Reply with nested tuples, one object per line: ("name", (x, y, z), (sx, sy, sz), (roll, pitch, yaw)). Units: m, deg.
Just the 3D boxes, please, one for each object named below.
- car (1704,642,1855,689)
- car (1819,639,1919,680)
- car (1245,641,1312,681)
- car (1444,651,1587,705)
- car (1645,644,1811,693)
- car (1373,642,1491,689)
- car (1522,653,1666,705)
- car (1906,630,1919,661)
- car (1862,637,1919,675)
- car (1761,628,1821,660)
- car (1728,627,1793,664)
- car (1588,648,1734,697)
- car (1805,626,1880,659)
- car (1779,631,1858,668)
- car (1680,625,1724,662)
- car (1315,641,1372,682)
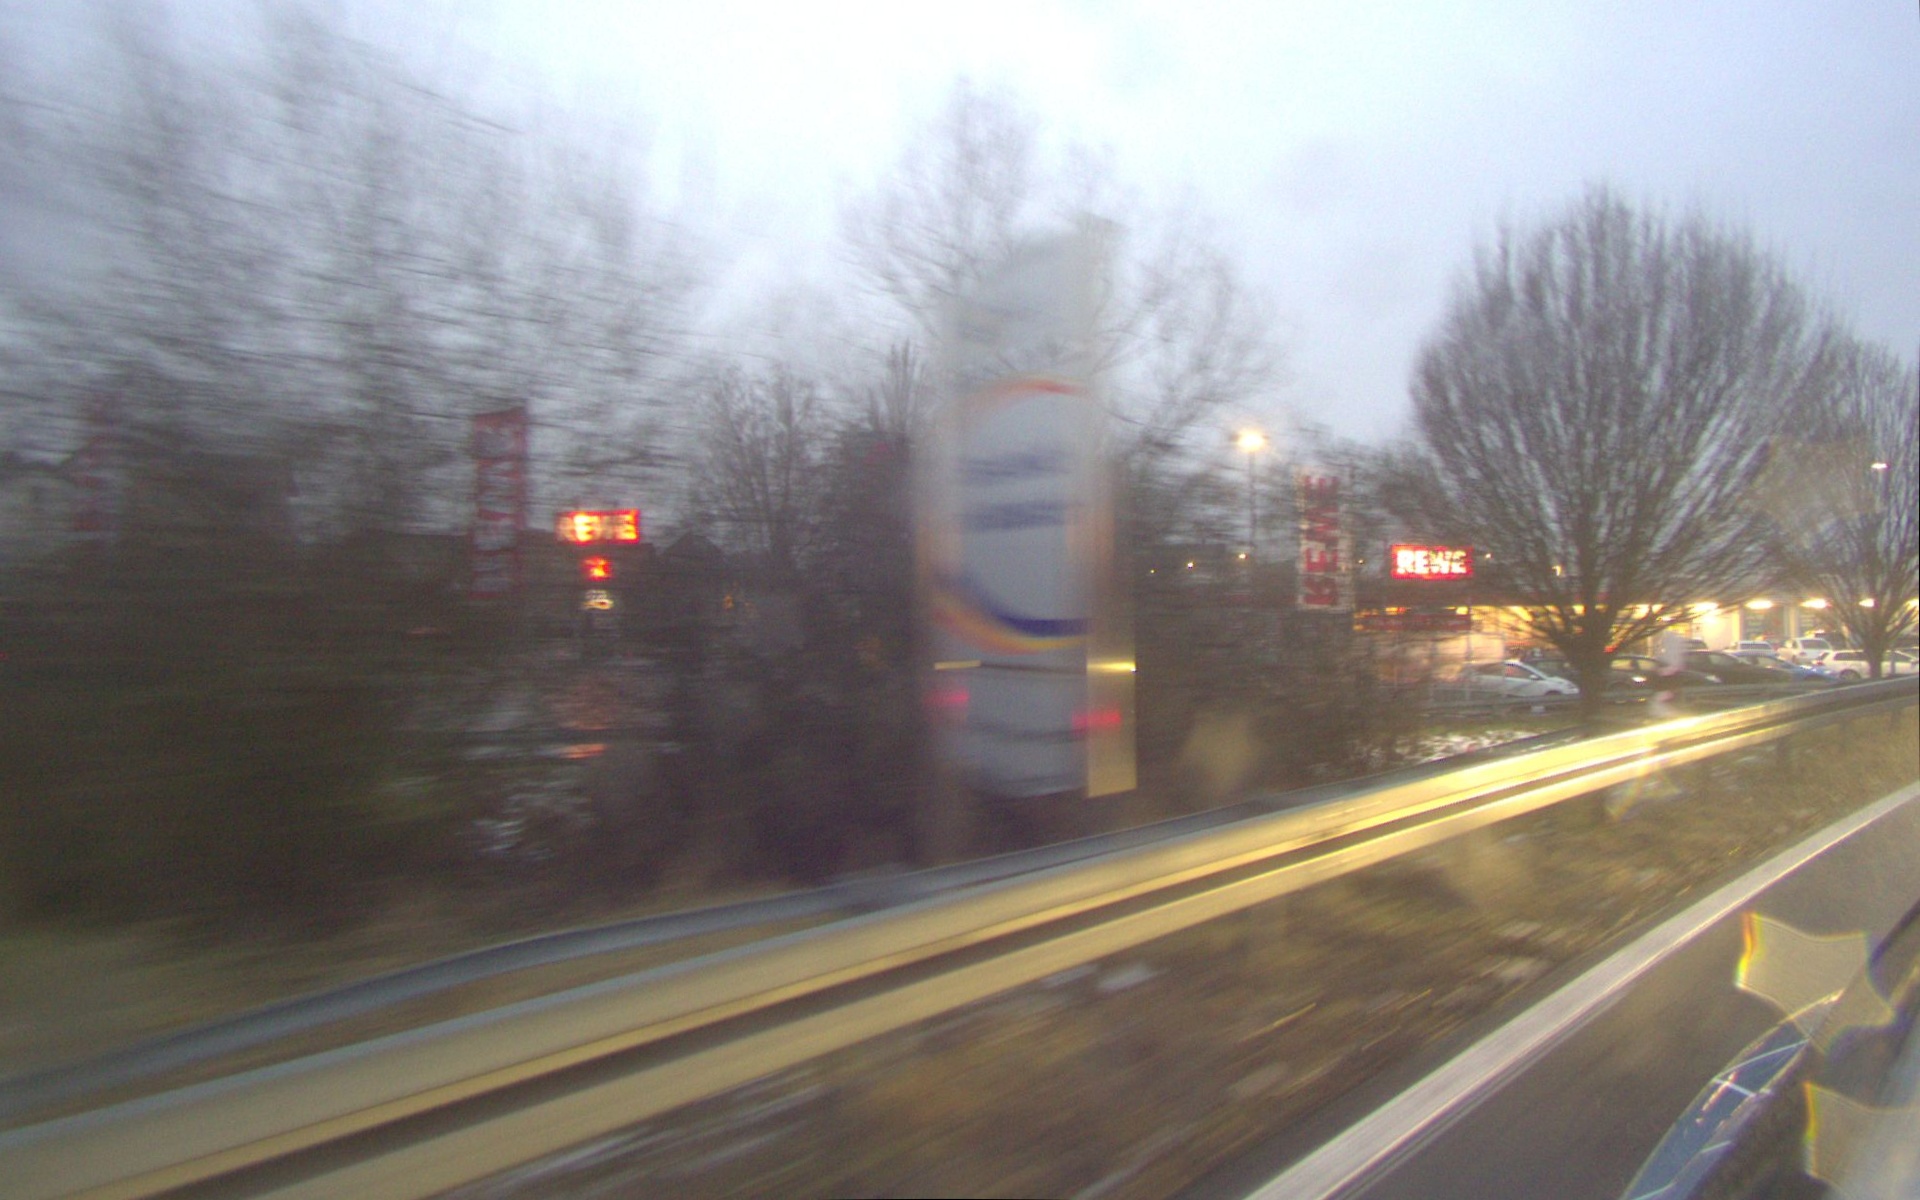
("car", (30.339, 2.393, 37.627), (4.149, 1.414, 1.882), (0, 1, 33))
("car", (36.802, 2.344, 39.605), (4.674, 1.414, 1.880), (0, 1, 36))
("car", (13.374, 2.507, 42.341), (1.560, 1.448, 3.711), (0, 0, 37))
("car", (17.950, 2.490, 32.859), (3.964, 1.457, 1.779), (0, 0, 29))
("car", (27.245, 2.407, 36.132), (4.556, 1.473, 1.908), (-1, 0, 34))
("car", (18.190, 2.505, 38.998), (3.950, 1.622, 1.727), (0, 0, -16))
("car", (21.022, 2.599, 33.746), (3.964, 1.438, 1.615), (0, 0, 29))
("car", (49.468, 2.254, 50.412), (3.239, 1.555, 1.373), (-2, -2, 38))
("car", (39.286, 2.289, 40.798), (4.153, 1.414, 1.828), (0, 1, 36))
("car", (45.065, 2.362, 54.961), (1.711, 1.520, 3.987), (0, 0, 28))
("car", (38.731, 2.150, 49.064), (1.790, 1.554, 4.495), (0, 0, 30))
("car", (24.047, 2.457, 34.897), (3.964, 1.438, 1.615), (0, 0, 29))
("car", (48.622, 2.291, 55.833), (1.779, 1.615, 3.953), (0, 0, 20))
("car", (42.342, 2.405, 50.024), (1.807, 1.660, 4.431), (0, -1, 24))
("car", (35.551, 2.065, 48.546), (1.589, 1.605, 3.586), (-1, 0, 35))
("car", (16.280, 2.563, 42.830), (1.557, 1.448, 3.718), (0, 0, 32))
